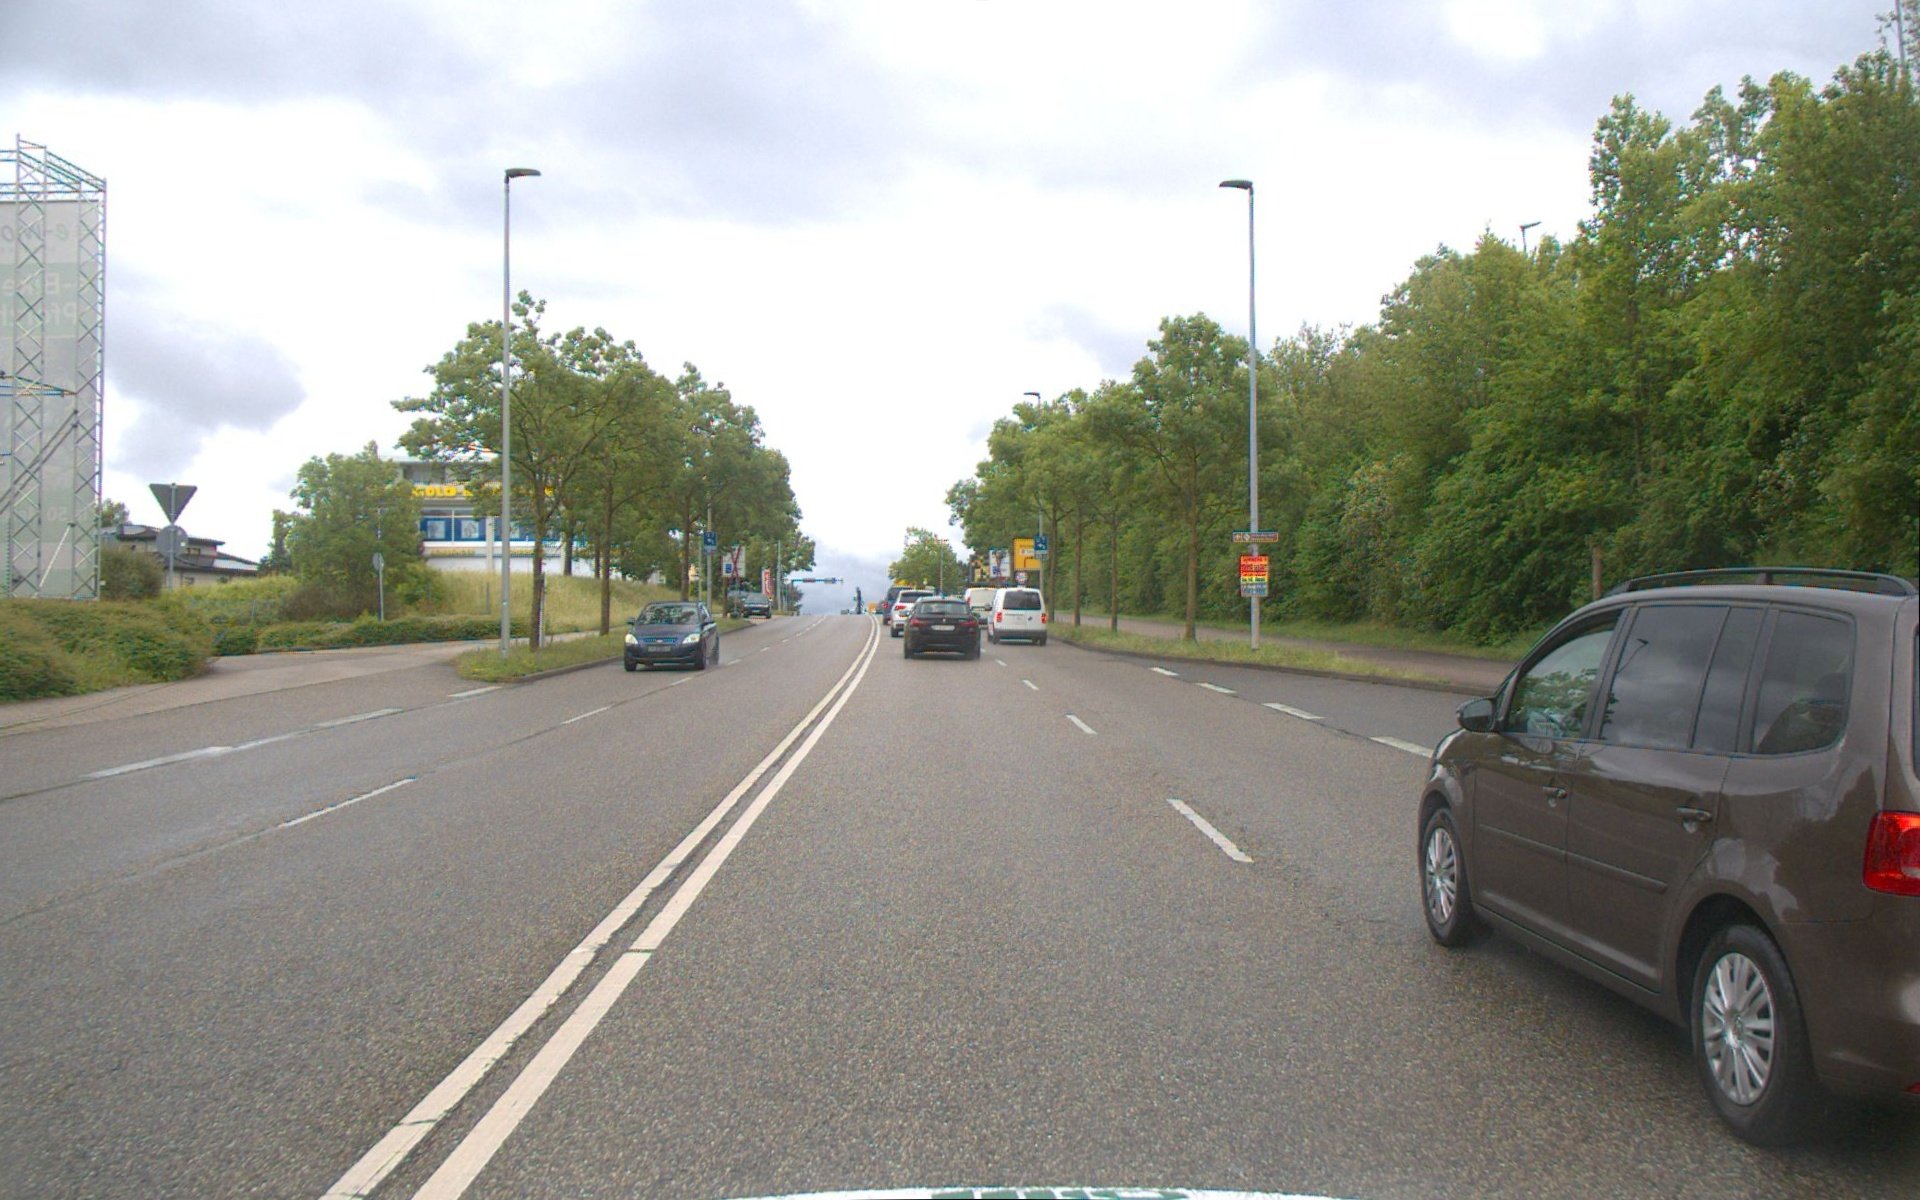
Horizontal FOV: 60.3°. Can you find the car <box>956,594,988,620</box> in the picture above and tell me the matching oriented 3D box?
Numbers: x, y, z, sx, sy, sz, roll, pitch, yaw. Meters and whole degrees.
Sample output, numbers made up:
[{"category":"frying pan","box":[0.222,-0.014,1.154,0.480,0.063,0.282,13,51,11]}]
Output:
[{"category":"car","box":[0.651,0.365,91.031,1.568,1.396,3.678,-1,0,-2]}]

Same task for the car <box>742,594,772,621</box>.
[{"category":"car","box":[-13.698,0.496,111.617,1.692,1.697,4.485,1,0,-3]}]

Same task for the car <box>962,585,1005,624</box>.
[{"category":"car","box":[1.054,0.217,76.397,1.777,1.738,3.944,0,0,-2]}]

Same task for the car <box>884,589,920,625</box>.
[{"category":"car","box":[-2.846,0.330,81.947,1.723,1.738,3.944,0,0,-2]}]

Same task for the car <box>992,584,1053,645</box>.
[{"category":"car","box":[1.993,0.453,53.963,1.706,1.902,3.944,1,0,-2]}]

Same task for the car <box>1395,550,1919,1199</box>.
[{"category":"car","box":[3.043,0.714,6.001,1.679,1.624,4.128,1,0,-2]}]

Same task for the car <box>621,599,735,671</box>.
[{"category":"car","box":[-6.287,0.746,37.283,1.701,1.479,4.001,-2,0,2]}]

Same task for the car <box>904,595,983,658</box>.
[{"category":"car","box":[-0.429,0.627,40.560,1.817,1.444,3.956,1,0,-1]}]

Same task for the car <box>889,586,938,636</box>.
[{"category":"car","box":[-1.665,0.395,59.948,1.693,1.741,3.382,1,0,0]}]
